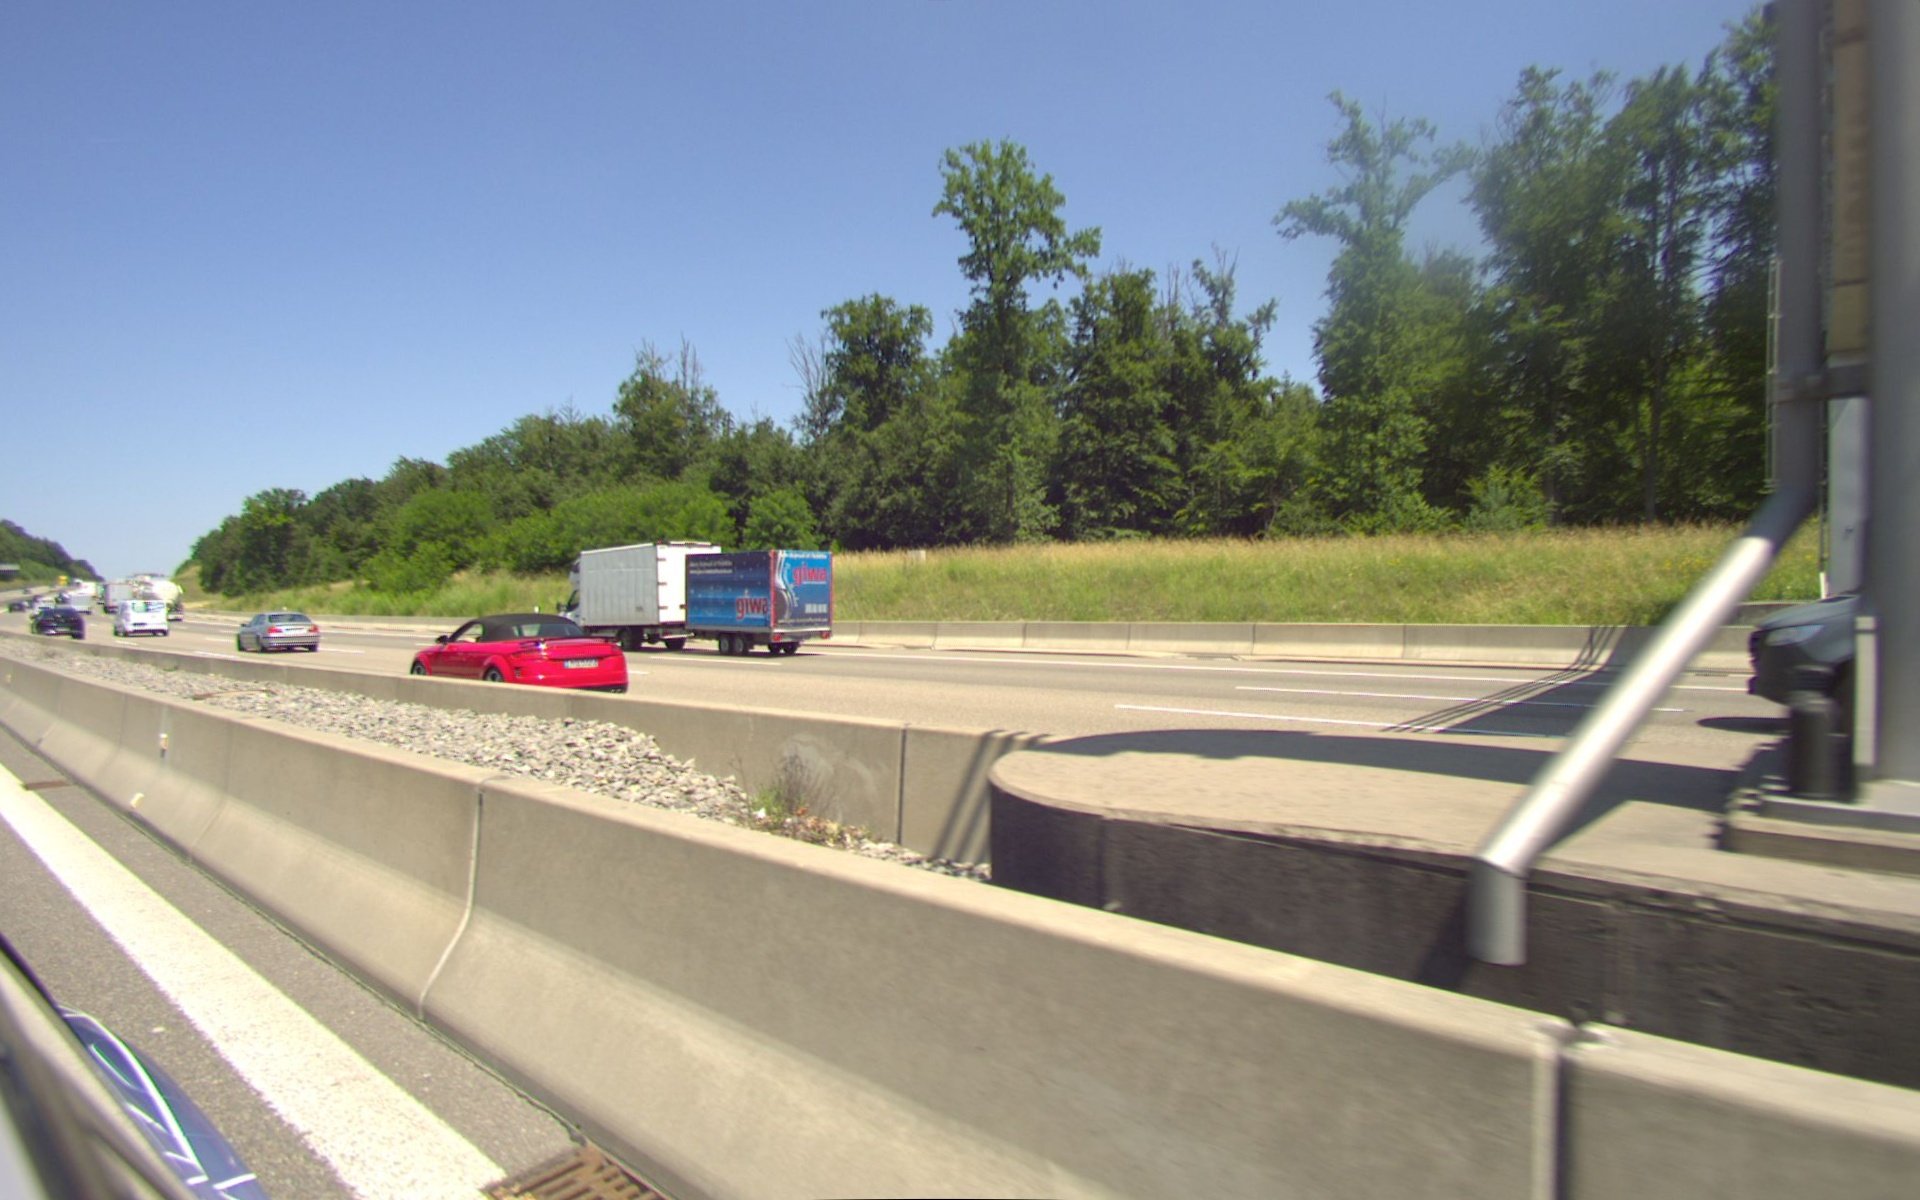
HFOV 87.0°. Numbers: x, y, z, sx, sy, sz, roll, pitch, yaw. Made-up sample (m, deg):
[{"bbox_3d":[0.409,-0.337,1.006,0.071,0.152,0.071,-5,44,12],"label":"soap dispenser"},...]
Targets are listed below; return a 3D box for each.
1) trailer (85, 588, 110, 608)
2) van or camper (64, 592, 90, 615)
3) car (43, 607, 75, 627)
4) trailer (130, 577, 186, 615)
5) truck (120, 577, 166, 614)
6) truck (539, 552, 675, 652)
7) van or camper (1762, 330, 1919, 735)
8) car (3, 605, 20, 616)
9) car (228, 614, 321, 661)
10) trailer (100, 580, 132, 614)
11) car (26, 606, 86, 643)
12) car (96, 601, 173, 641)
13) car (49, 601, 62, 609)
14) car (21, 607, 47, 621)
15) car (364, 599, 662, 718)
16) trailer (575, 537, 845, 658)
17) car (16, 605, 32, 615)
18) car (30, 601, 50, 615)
[{"bbox_3d":[-177.777,-0.451,208.503,3.191,4.068,15.302,0,0,-43],"label":"trailer"},{"bbox_3d":[-115.208,0.493,132.060,2.527,2.953,7.360,0,0,-41],"label":"van or camper"},{"bbox_3d":[-77.301,1.415,86.805,4.611,1.537,1.657,0,2,43],"label":"car"},{"bbox_3d":[-78.559,-0.405,99.048,10.494,3.561,2.623,0,2,43],"label":"trailer"},{"bbox_3d":[-84.120,-0.488,104.175,6.620,3.570,2.675,0,2,43],"label":"truck"},{"bbox_3d":[-12.062,0.041,34.493,4.399,3.190,2.462,0,1,41],"label":"truck"},{"bbox_3d":[11.662,-0.657,8.407,7.752,3.706,2.406,-1,0,40],"label":"van or camper"},{"bbox_3d":[-135.430,1.524,144.512,1.654,1.508,4.956,-2,2,-44],"label":"car"},{"bbox_3d":[-23.789,1.242,35.060,4.350,1.412,1.682,0,2,42],"label":"car"},{"bbox_3d":[-116.254,-0.441,139.314,2.994,4.393,14.297,-2,2,-41],"label":"trailer"},{"bbox_3d":[-45.741,1.202,51.183,4.917,1.674,1.806,0,2,43],"label":"car"},{"bbox_3d":[-46.101,1.140,56.437,7.138,2.071,2.172,0,0,41],"label":"car"},{"bbox_3d":[-177.506,1.044,198.608,1.755,1.476,4.003,-2,2,-44],"label":"car"},{"bbox_3d":[-104.662,1.572,114.321,1.971,1.470,5.050,0,0,-45],"label":"car"},{"bbox_3d":[-6.756,0.749,14.977,5.218,1.453,2.026,-1,0,41],"label":"car"},{"bbox_3d":[-7.981,-0.117,30.955,10.475,3.177,2.449,0,2,41],"label":"trailer"},{"bbox_3d":[-153.576,1.573,165.993,1.851,1.645,5.167,-1,0,-44],"label":"car"},{"bbox_3d":[-137.005,1.158,150.692,1.979,2.029,5.189,-1,0,-44],"label":"car"}]
